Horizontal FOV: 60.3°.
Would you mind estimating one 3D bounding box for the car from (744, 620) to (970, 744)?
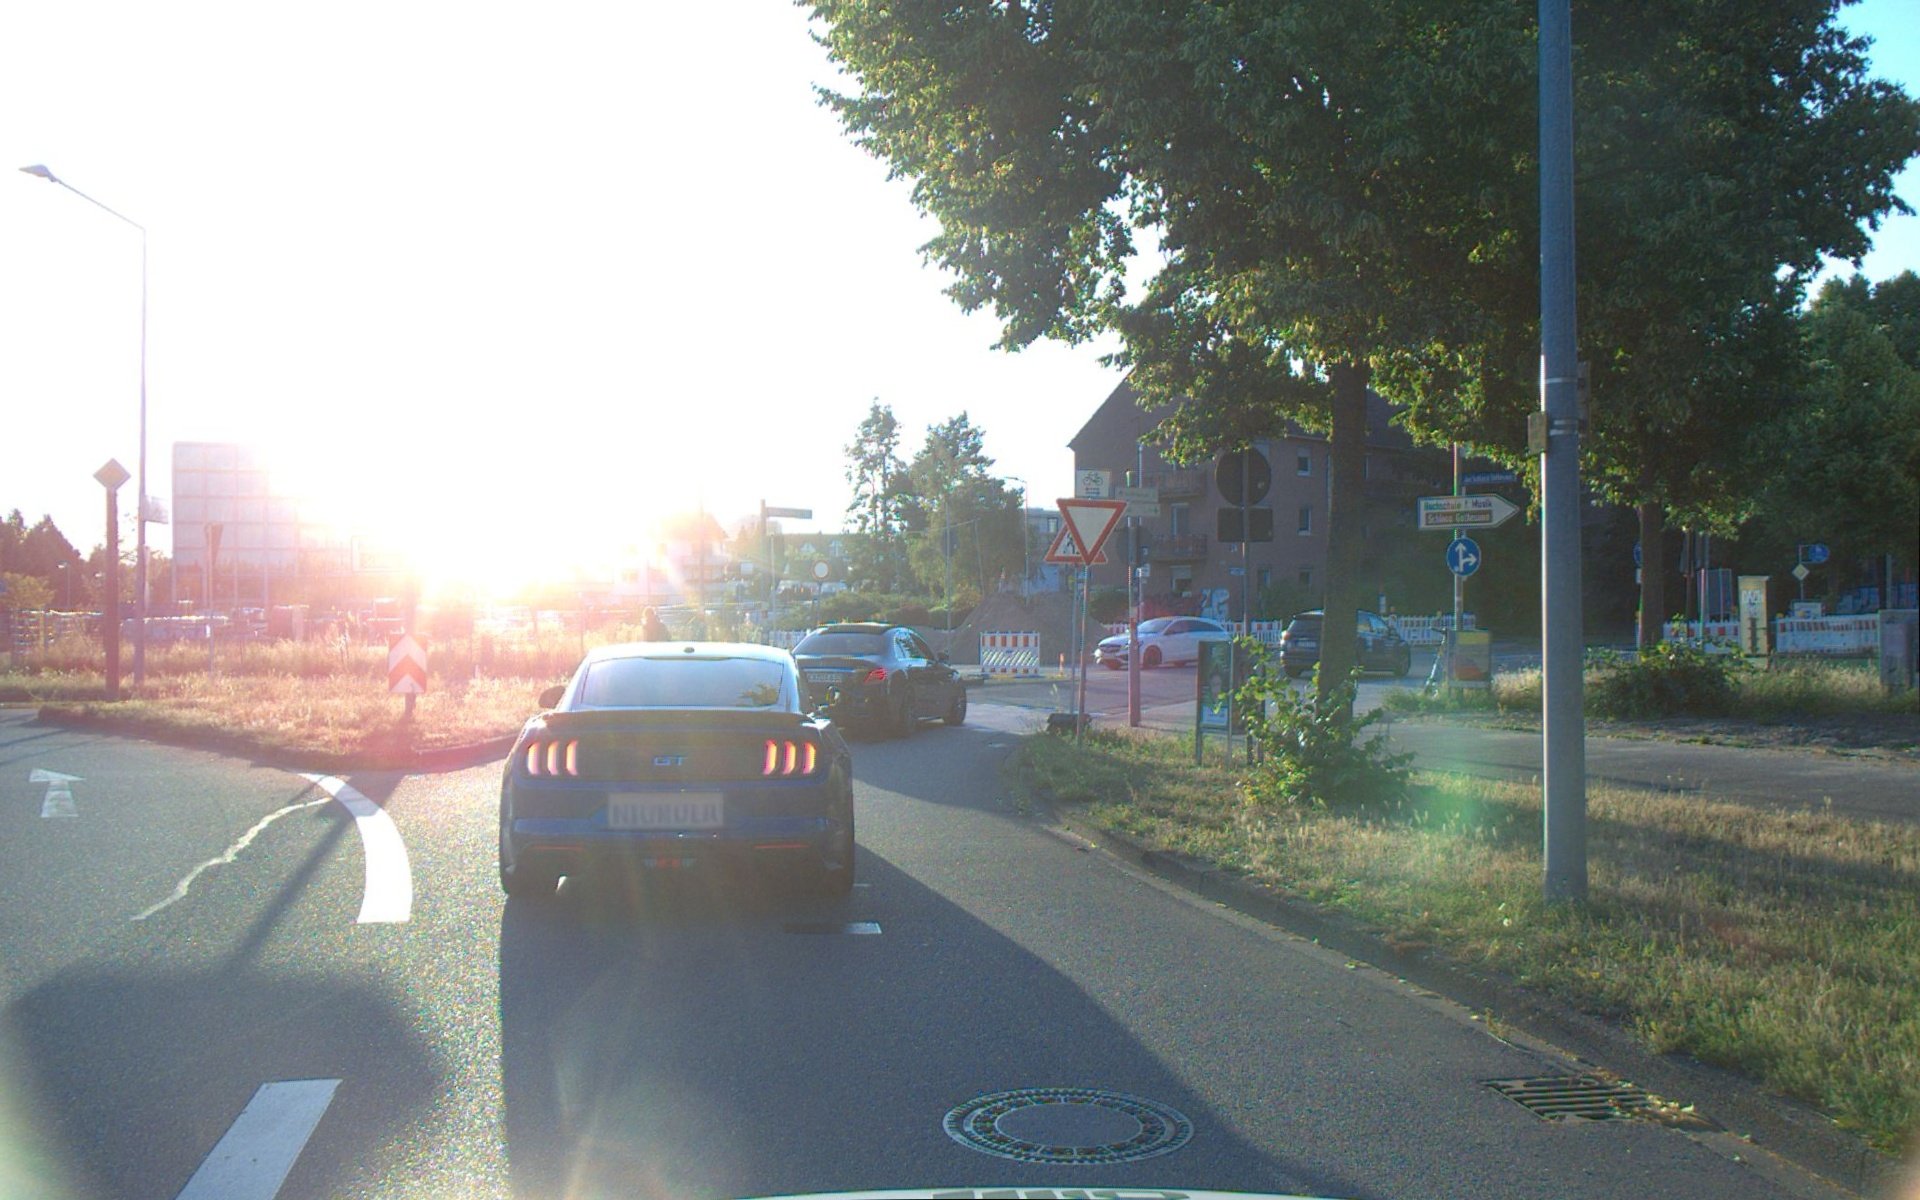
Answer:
[{"bbox_3d":[-1.268,1.027,22.523,1.909,1.452,4.433,0,0,13],"label":"car"}]

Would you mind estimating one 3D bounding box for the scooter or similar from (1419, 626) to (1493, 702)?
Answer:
[{"bbox_3d":[8.313,1.064,27.718,1.098,1.260,0.442,0,0,-6],"label":"scooter or similar"}]

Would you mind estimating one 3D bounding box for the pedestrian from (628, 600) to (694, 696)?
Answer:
[{"bbox_3d":[-5.429,0.856,30.037,0.839,1.716,0.873,0,-1,-43],"label":"pedestrian"}]

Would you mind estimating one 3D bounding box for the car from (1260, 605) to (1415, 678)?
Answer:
[{"bbox_3d":[9.263,0.986,40.416,1.923,1.630,4.052,-3,-2,42],"label":"car"}]

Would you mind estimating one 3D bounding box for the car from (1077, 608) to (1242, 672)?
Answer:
[{"bbox_3d":[5.787,1.104,47.655,4.607,1.478,2.048,-3,3,-37],"label":"car"}]

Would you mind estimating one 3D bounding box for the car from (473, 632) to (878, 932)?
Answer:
[{"bbox_3d":[-1.659,0.912,10.282,1.914,1.365,4.662,0,-1,-8],"label":"car"}]

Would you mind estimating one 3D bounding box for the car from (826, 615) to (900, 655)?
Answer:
[{"bbox_3d":[-4.436,1.571,75.305,1.970,1.736,3.965,0,-1,-27],"label":"car"}]
